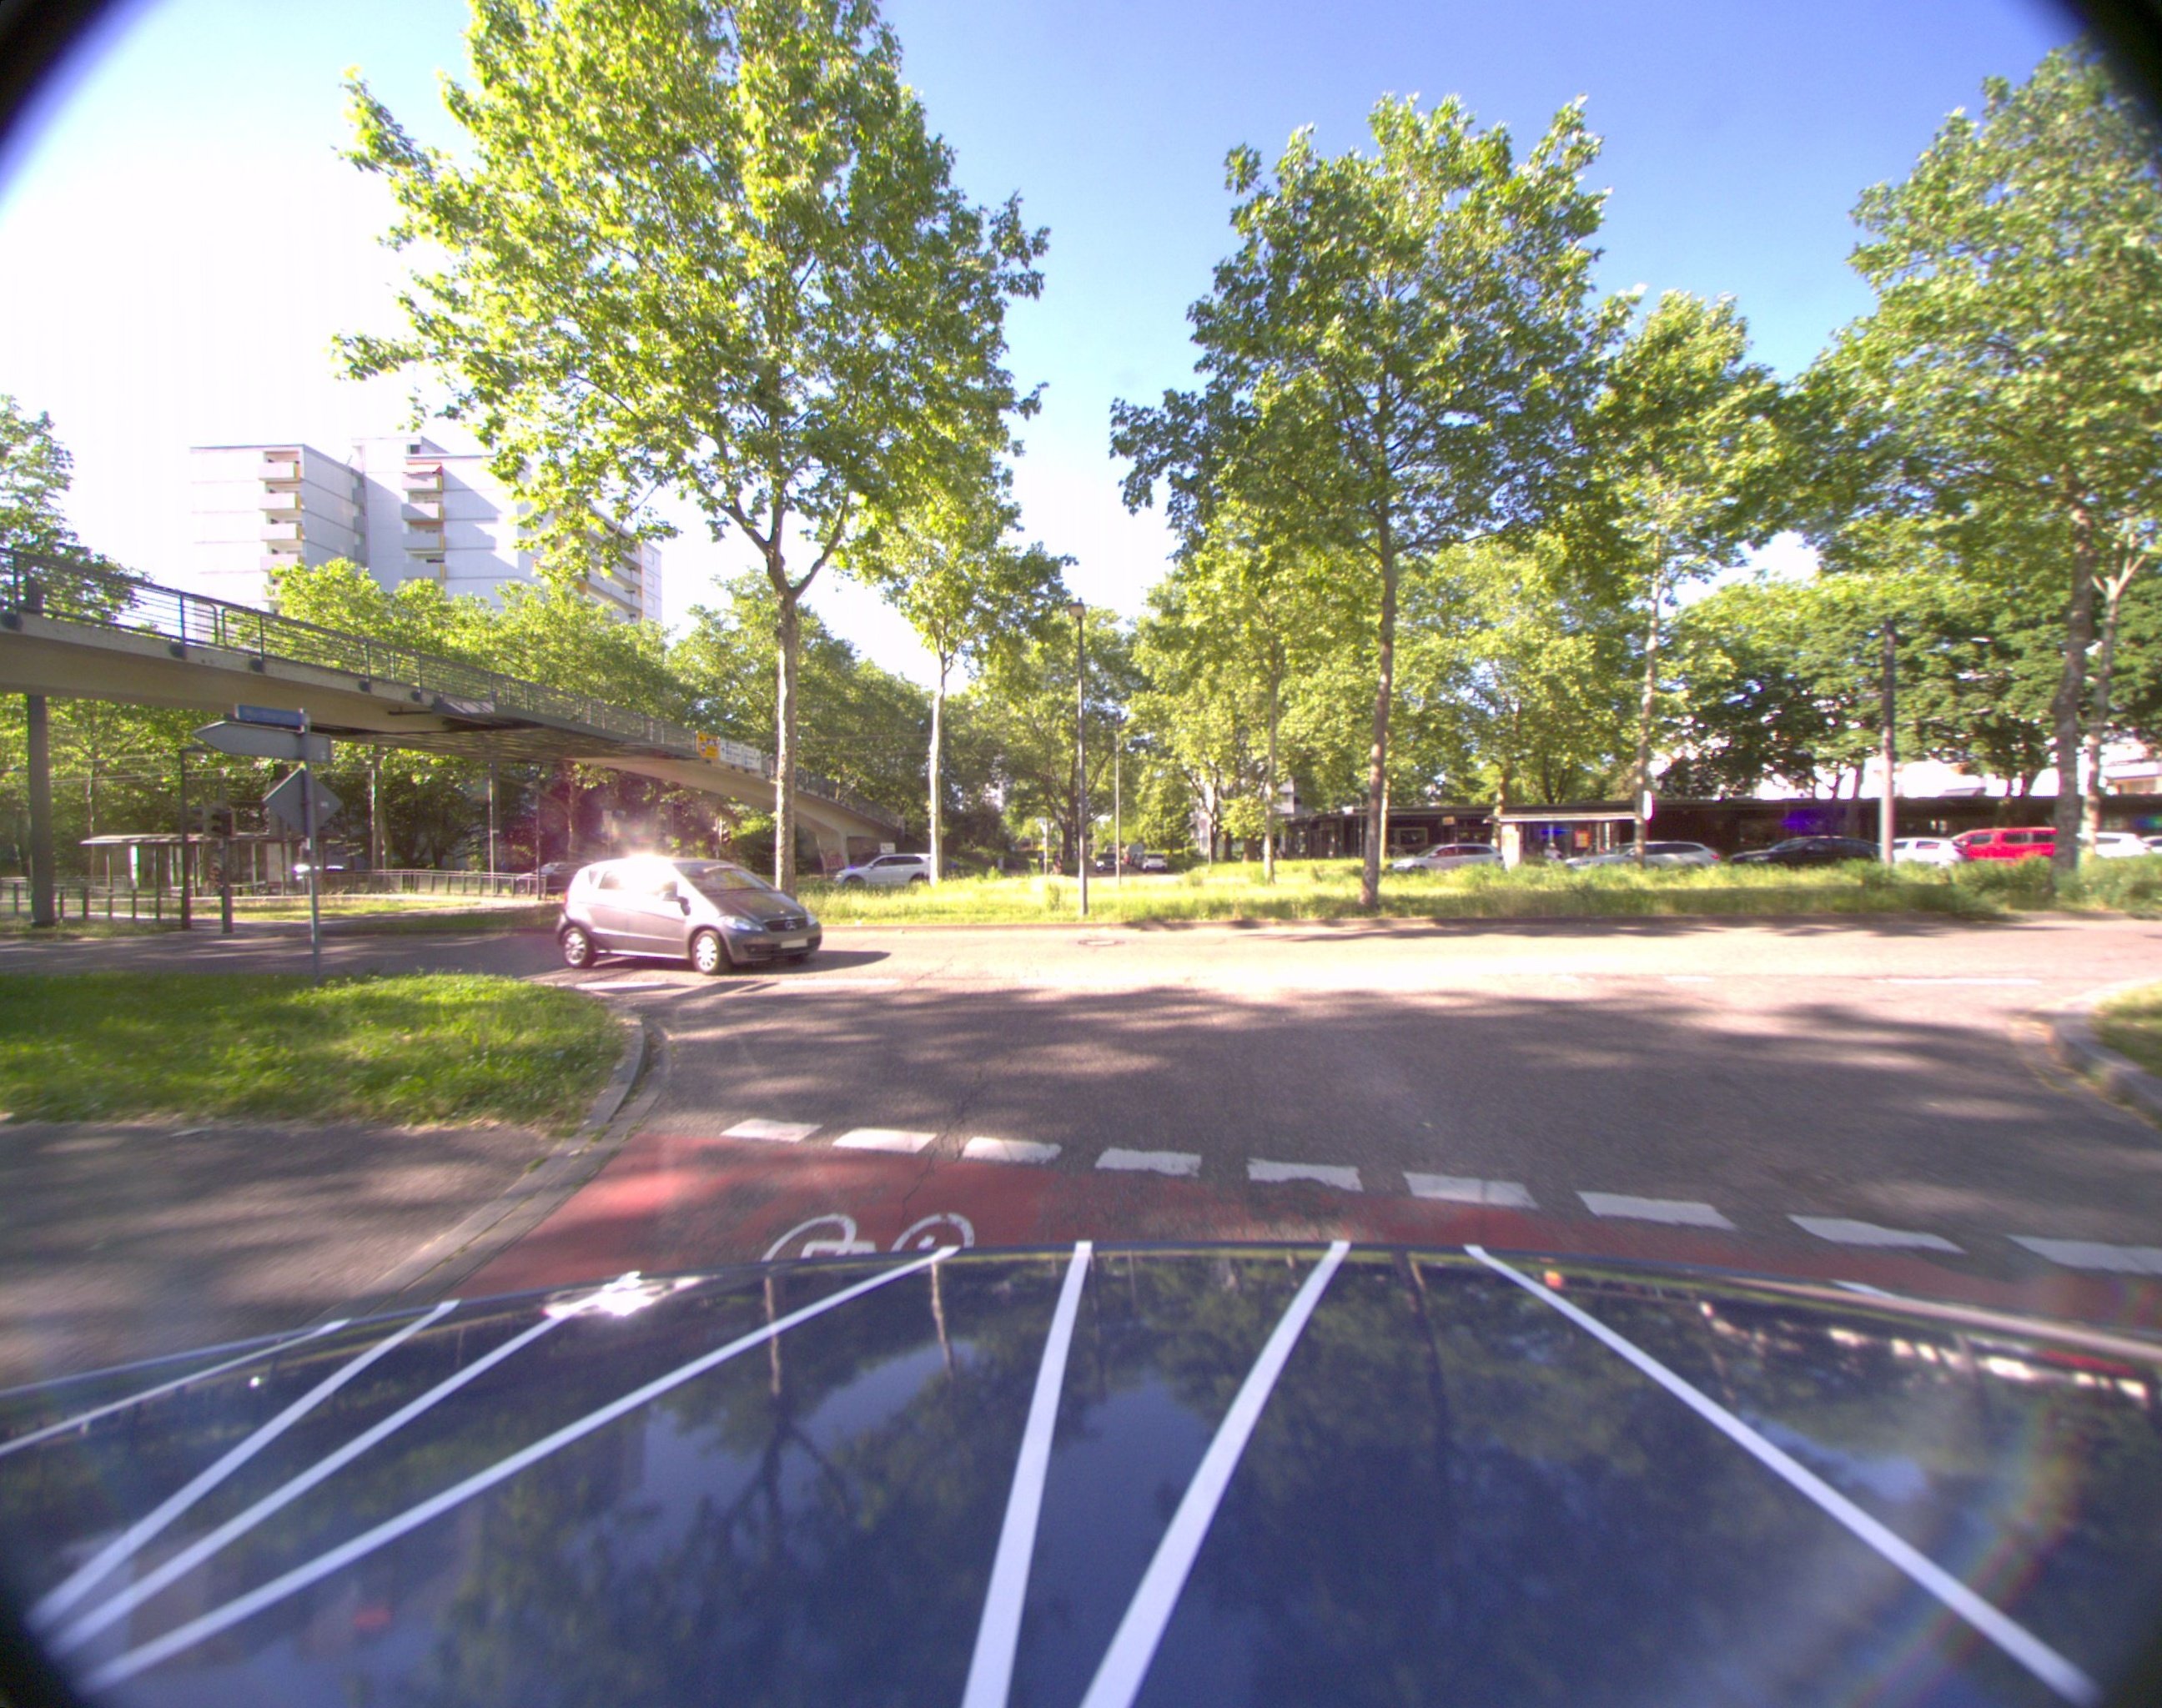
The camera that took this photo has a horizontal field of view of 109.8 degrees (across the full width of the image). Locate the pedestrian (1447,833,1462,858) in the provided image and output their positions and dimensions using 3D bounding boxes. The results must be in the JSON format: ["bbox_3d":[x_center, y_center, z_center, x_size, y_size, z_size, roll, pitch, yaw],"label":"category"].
[{"bbox_3d":[24.862,-0.545,50.608,0.649,1.652,0.650,-1,1,3],"label":"pedestrian"}]

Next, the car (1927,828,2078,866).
[{"bbox_3d":[38.959,-0.280,32.230,1.803,1.501,3.989,-2,1,-38],"label":"car"}]

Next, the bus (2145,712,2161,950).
[{"bbox_3d":[20.659,-0.398,8.376,12.201,3.248,2.910,-1,1,7],"label":"bus"}]

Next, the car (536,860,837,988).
[{"bbox_3d":[-5.721,0.937,11.091,3.754,1.580,1.802,-1,1,21],"label":"car"}]

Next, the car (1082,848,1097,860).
[{"bbox_3d":[1.099,-0.012,97.221,1.798,1.501,4.000,-1,0,2],"label":"car"}]

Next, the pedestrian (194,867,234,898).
[{"bbox_3d":[-36.063,1.193,31.600,0.721,1.231,0.781,-1,1,7],"label":"pedestrian"}]

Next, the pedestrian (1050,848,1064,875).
[{"bbox_3d":[-1.532,0.453,48.566,0.648,1.696,0.651,-1,1,29],"label":"pedestrian"}]

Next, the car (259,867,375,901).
[{"bbox_3d":[-38.192,1.479,38.034,4.282,1.557,1.801,-1,1,8],"label":"car"}]

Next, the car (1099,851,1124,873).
[{"bbox_3d":[2.292,0.568,57.366,1.798,1.501,4.000,-1,1,2],"label":"car"}]

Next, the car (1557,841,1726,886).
[{"bbox_3d":[20.189,0.338,27.520,4.669,1.501,1.801,-1,1,6],"label":"car"}]

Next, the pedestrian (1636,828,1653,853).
[{"bbox_3d":[37.316,-0.898,50.317,0.649,1.652,0.650,-1,1,3],"label":"pedestrian"}]

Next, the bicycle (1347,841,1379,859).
[{"bbox_3d":[17.670,-0.260,47.561,1.799,1.101,0.556,-1,1,-1],"label":"bicycle"}]

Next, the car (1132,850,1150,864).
[{"bbox_3d":[6.475,0.305,82.509,1.798,1.501,4.000,-1,0,2],"label":"car"}]

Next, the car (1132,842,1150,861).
[{"bbox_3d":[7.668,-0.312,97.788,2.060,2.422,5.009,-1,1,2],"label":"car"}]

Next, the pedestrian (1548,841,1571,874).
[{"bbox_3d":[21.375,0.164,33.951,0.649,1.451,0.650,-1,1,10],"label":"pedestrian"}]

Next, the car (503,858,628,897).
[{"bbox_3d":[-22.609,1.000,33.426,4.284,1.557,1.800,-1,1,2],"label":"car"}]

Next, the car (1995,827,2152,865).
[{"bbox_3d":[41.995,-0.334,32.300,1.803,1.501,3.989,-2,1,-38],"label":"car"}]

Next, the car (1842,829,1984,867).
[{"bbox_3d":[35.529,-0.243,32.524,1.803,1.501,3.989,-2,1,-38],"label":"car"}]

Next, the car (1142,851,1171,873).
[{"bbox_3d":[5.495,0.553,55.569,1.798,1.501,4.000,-1,0,2],"label":"car"}]

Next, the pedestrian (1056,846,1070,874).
[{"bbox_3d":[-1.182,0.400,49.371,0.648,1.773,0.651,-1,1,29],"label":"pedestrian"}]

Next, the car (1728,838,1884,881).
[{"bbox_3d":[27.497,0.205,28.935,3.994,1.501,1.801,-1,1,9],"label":"car"}]

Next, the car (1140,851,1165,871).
[{"bbox_3d":[5.733,0.547,61.258,1.798,1.501,4.000,-1,0,2],"label":"car"}]

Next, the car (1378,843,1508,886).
[{"bbox_3d":[14.176,0.412,29.991,4.282,1.571,1.801,-1,1,8],"label":"car"}]

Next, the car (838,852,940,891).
[{"bbox_3d":[-8.102,0.704,32.411,4.088,1.501,1.798,-1,1,-10],"label":"car"}]
